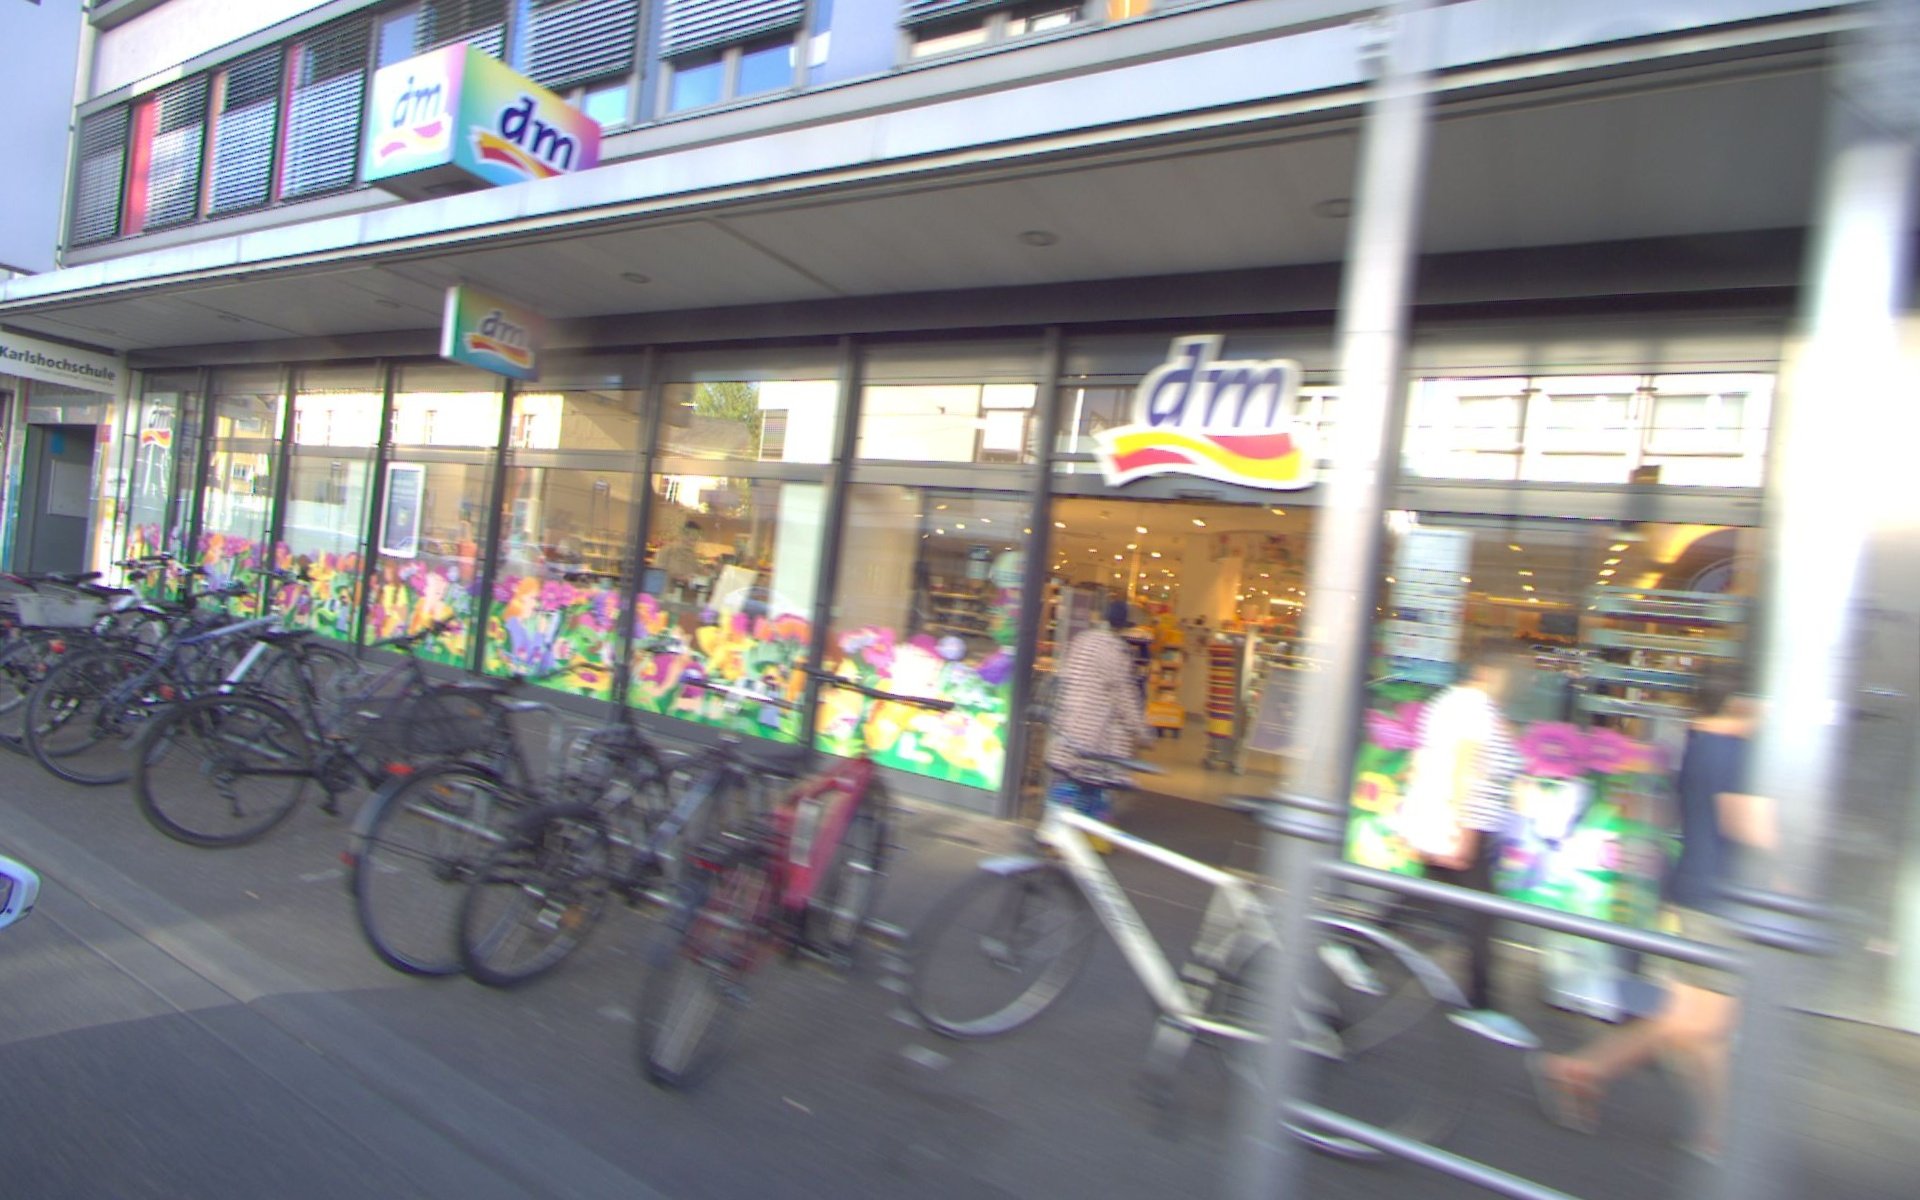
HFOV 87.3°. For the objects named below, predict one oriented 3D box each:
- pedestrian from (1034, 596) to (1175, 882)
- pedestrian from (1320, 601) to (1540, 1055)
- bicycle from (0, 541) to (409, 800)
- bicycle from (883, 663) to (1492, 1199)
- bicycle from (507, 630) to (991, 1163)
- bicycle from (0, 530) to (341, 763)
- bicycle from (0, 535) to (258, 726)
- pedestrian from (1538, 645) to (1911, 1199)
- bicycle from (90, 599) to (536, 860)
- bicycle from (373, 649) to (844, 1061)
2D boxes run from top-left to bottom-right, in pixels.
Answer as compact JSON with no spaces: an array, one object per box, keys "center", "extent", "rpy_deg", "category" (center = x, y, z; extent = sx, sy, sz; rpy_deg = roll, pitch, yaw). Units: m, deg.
[{"center":[0.804,0.762,5.768],"extent":[0.586,1.506,0.582],"rpy_deg":[5,2,0],"category":"pedestrian"},{"center":[1.886,0.841,4.030],"extent":[0.587,1.607,0.581],"rpy_deg":[7,3,30],"category":"pedestrian"},{"center":[-4.291,0.389,5.841],"extent":[0.577,1.232,1.789],"rpy_deg":[7,1,30],"category":"bicycle"},{"center":[0.635,0.930,3.030],"extent":[1.575,1.274,0.581],"rpy_deg":[7,3,30],"category":"bicycle"},{"center":[-0.547,0.790,3.562],"extent":[0.515,1.291,2.041],"rpy_deg":[7,1,22],"category":"bicycle"},{"center":[-5.010,0.281,6.258],"extent":[0.658,1.232,1.789],"rpy_deg":[7,1,30],"category":"bicycle"},{"center":[-6.049,0.205,6.943],"extent":[0.658,1.174,1.789],"rpy_deg":[7,1,30],"category":"bicycle"},{"center":[2.310,0.936,3.114],"extent":[0.515,1.513,0.582],"rpy_deg":[5,2,-4],"category":"pedestrian"},{"center":[-3.168,0.595,5.131],"extent":[0.587,1.045,1.775],"rpy_deg":[7,1,30],"category":"bicycle"},{"center":[-1.175,0.790,3.818],"extent":[0.470,1.145,1.777],"rpy_deg":[7,1,26],"category":"bicycle"}]
